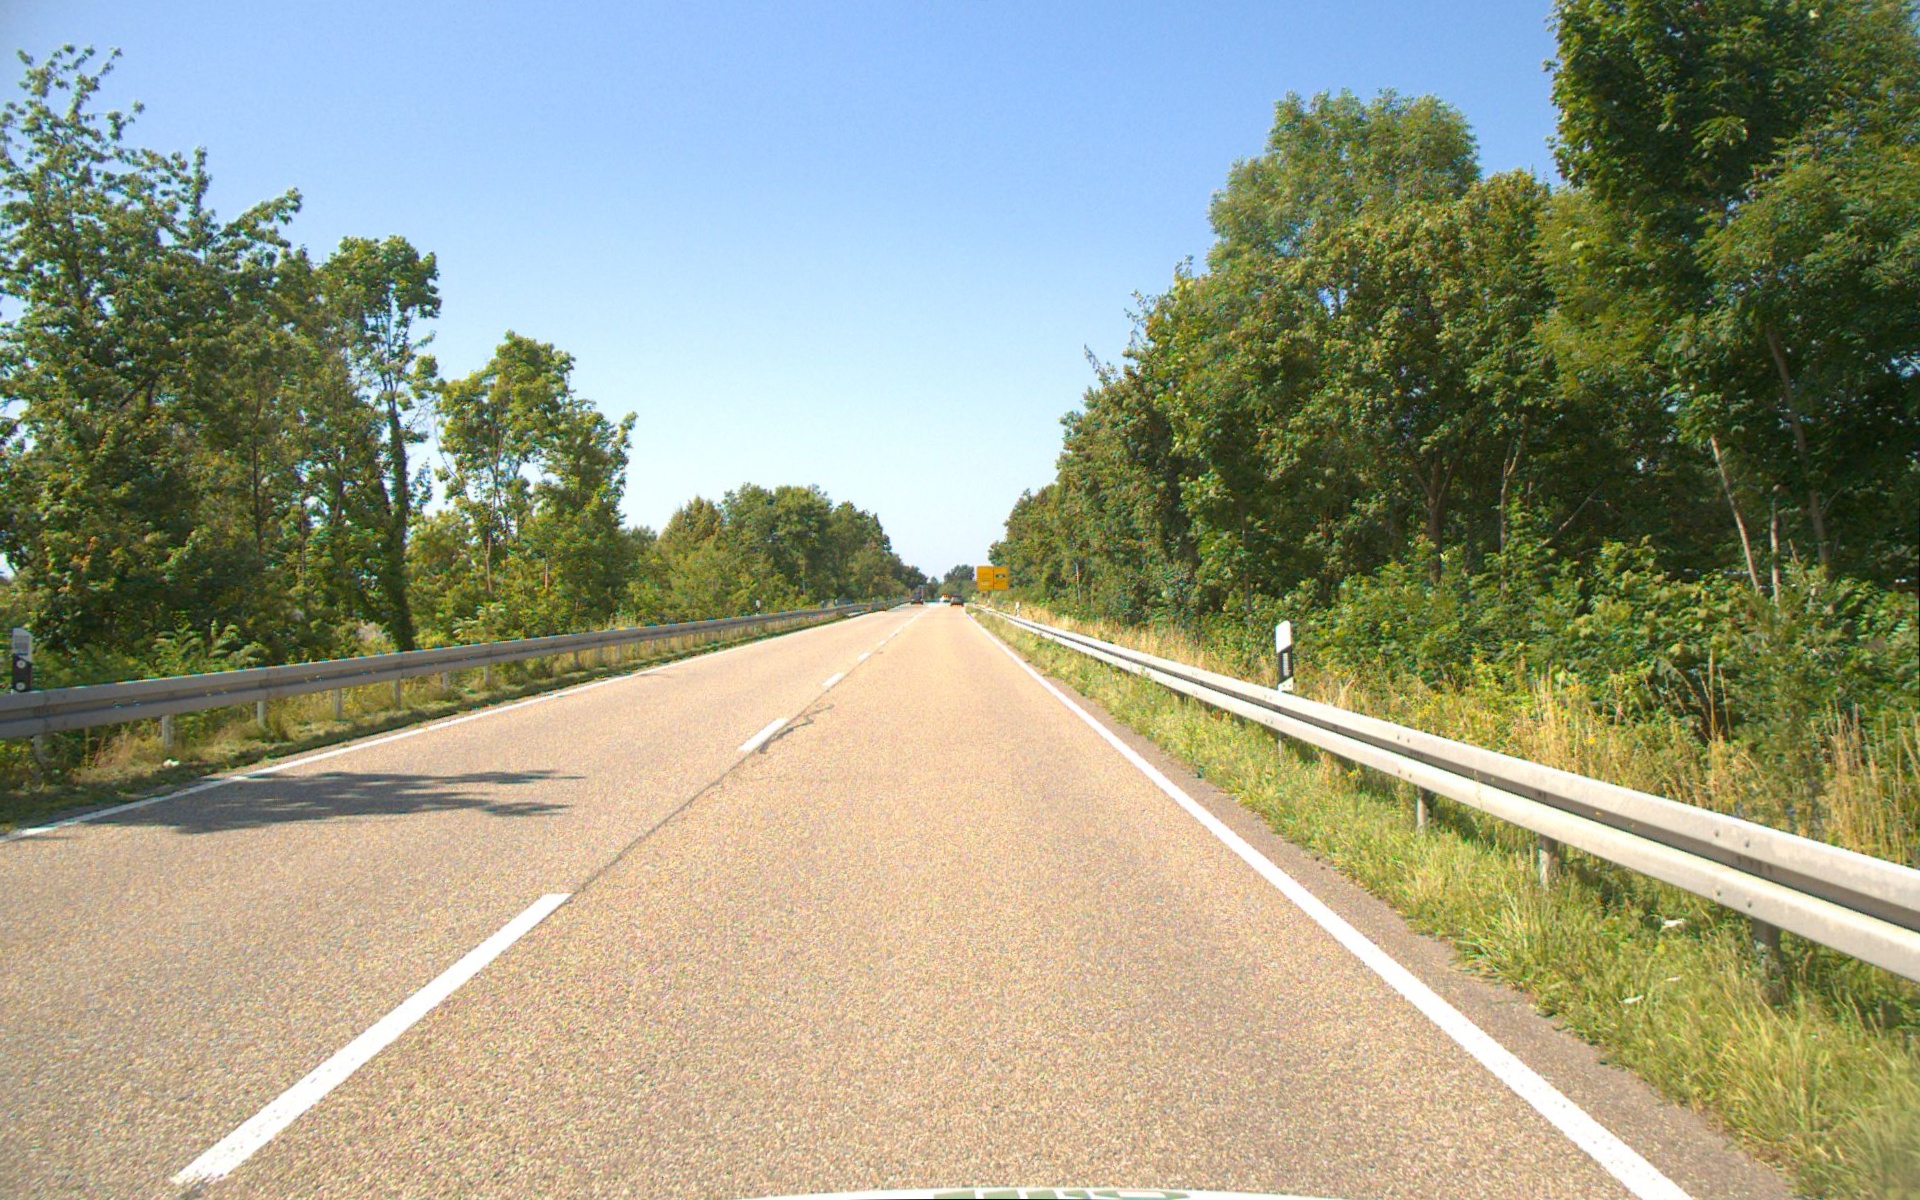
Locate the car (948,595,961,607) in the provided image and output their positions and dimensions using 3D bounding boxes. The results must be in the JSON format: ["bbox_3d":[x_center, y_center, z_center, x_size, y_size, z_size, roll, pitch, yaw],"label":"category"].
[{"bbox_3d":[-0.738,0.094,217.476,1.705,1.496,3.693,0,0,0],"label":"car"}]

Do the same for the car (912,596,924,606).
[{"bbox_3d":[-6.295,0.113,247.170,1.710,1.450,4.677,0,0,0],"label":"car"}]
